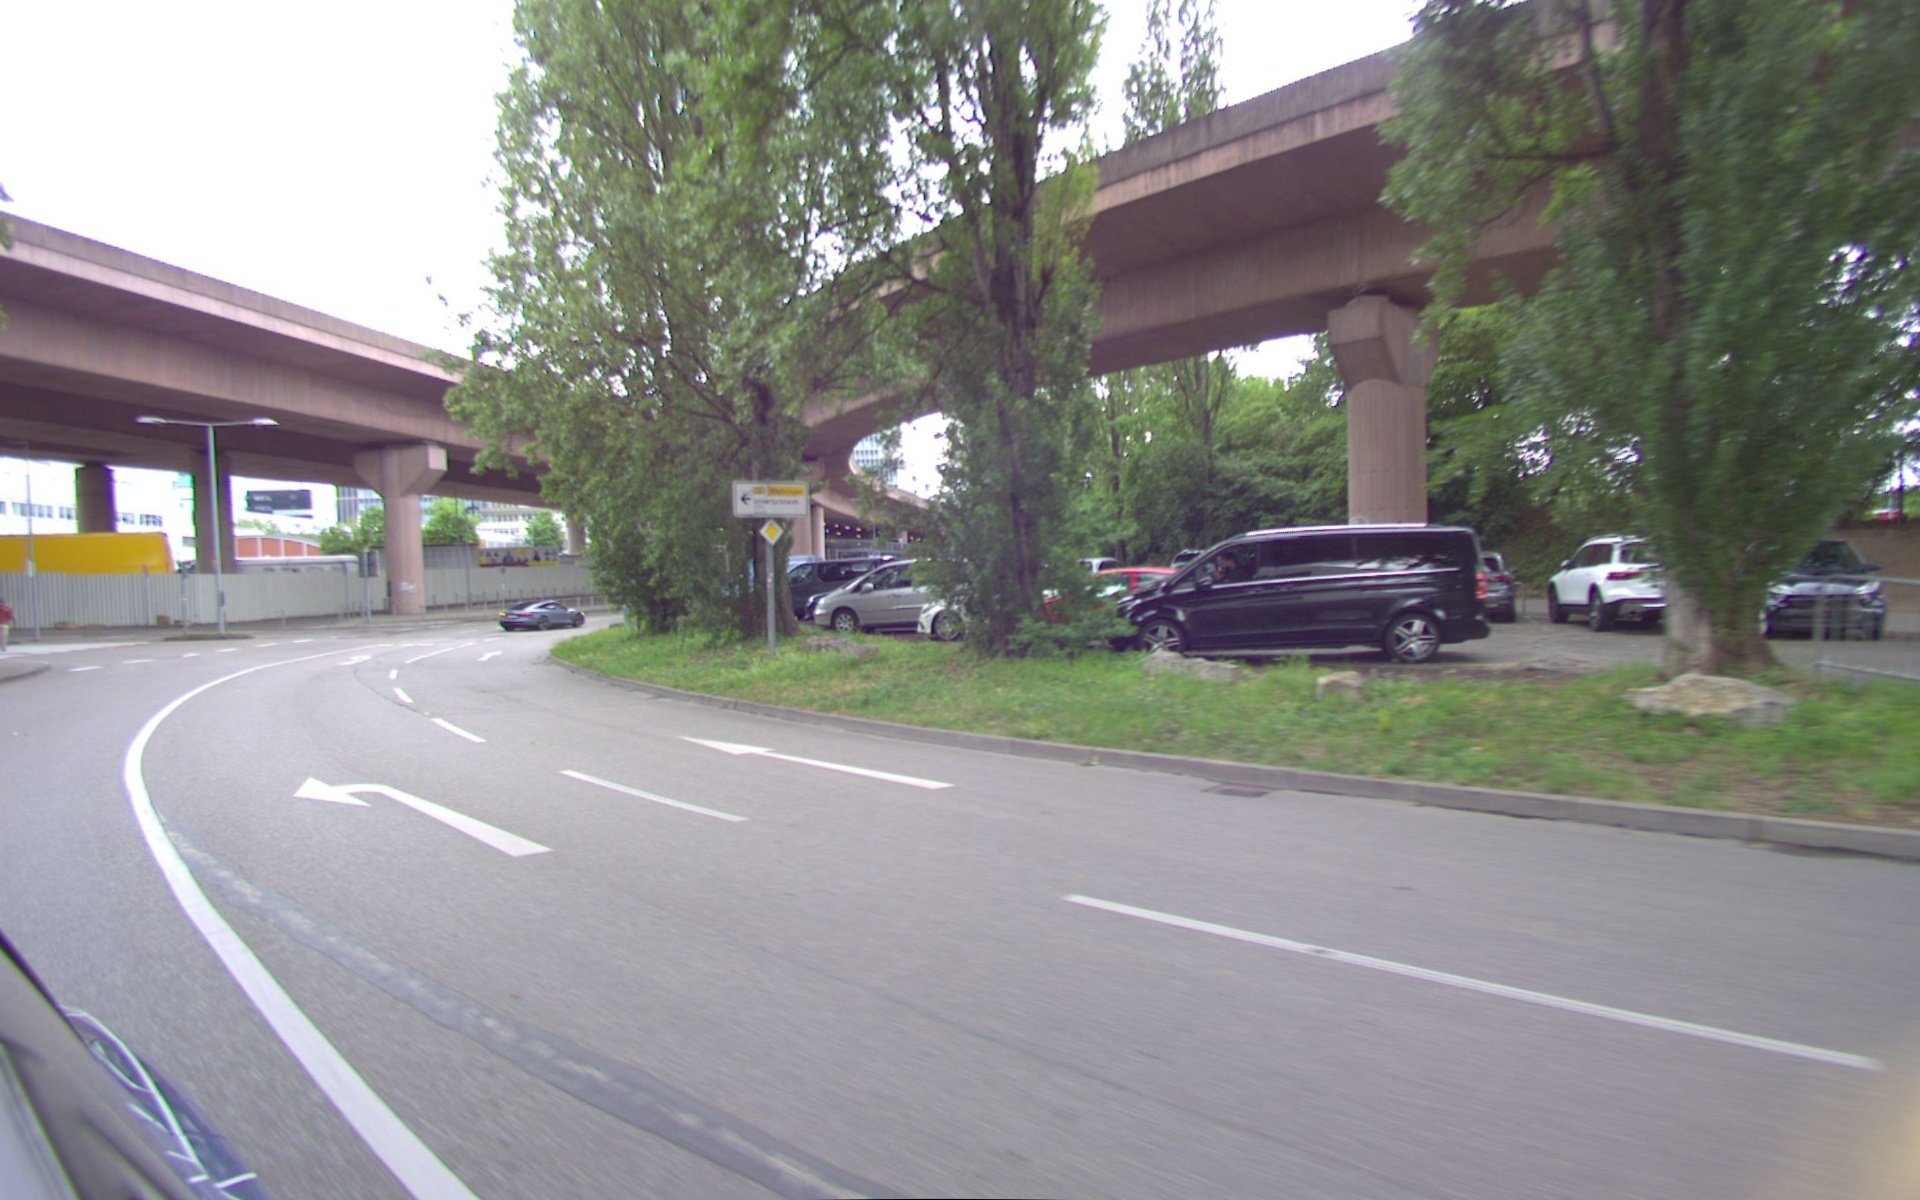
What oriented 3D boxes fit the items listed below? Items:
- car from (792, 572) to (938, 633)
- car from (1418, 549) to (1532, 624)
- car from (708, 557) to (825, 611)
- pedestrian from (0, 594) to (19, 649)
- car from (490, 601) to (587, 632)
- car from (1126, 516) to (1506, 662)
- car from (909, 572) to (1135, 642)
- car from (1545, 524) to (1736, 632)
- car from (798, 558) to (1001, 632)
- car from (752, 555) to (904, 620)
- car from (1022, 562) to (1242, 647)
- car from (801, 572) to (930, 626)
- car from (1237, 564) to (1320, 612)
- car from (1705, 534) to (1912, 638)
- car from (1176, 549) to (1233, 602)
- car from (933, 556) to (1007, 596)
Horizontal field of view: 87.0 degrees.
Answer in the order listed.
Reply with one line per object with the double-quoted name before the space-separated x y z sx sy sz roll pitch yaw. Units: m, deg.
"car" -2.558 0.021 27.468 3.593 1.548 1.689 1 2 14
"car" 11.111 -0.314 22.067 1.730 1.475 3.843 -1 1 20
"car" -9.835 -0.818 51.410 5.644 2.600 1.817 1 -1 20
"pedestrian" -30.429 0.677 32.044 0.741 1.693 0.857 -1 1 -32
"car" -20.038 0.761 48.369 1.914 1.369 4.736 -1 1 12
"car" 4.997 -0.131 14.822 4.926 1.931 1.849 -1 1 14
"car" 1.317 0.141 21.181 4.475 1.374 1.688 -1 1 16
"car" 12.186 -0.397 18.425 1.720 1.720 4.042 -1 1 17
"car" -1.447 -0.116 24.547 4.632 1.686 1.689 0 1 14
"car" -4.362 -0.408 33.531 4.683 2.029 1.845 1 -1 18
"car" 3.057 0.075 17.966 3.669 1.390 1.558 -1 1 14
"car" -2.827 -0.029 30.583 3.587 1.548 1.691 1 -1 9
"car" 8.714 -0.346 27.595 1.316 1.244 2.942 0 1 35
"car" 13.527 -0.240 16.391 1.529 1.475 3.838 -1 1 24
"car" 7.348 -0.721 30.266 1.310 1.498 2.958 -1 1 20
"car" 0.502 -1.120 47.421 1.641 1.813 3.495 0 1 40
